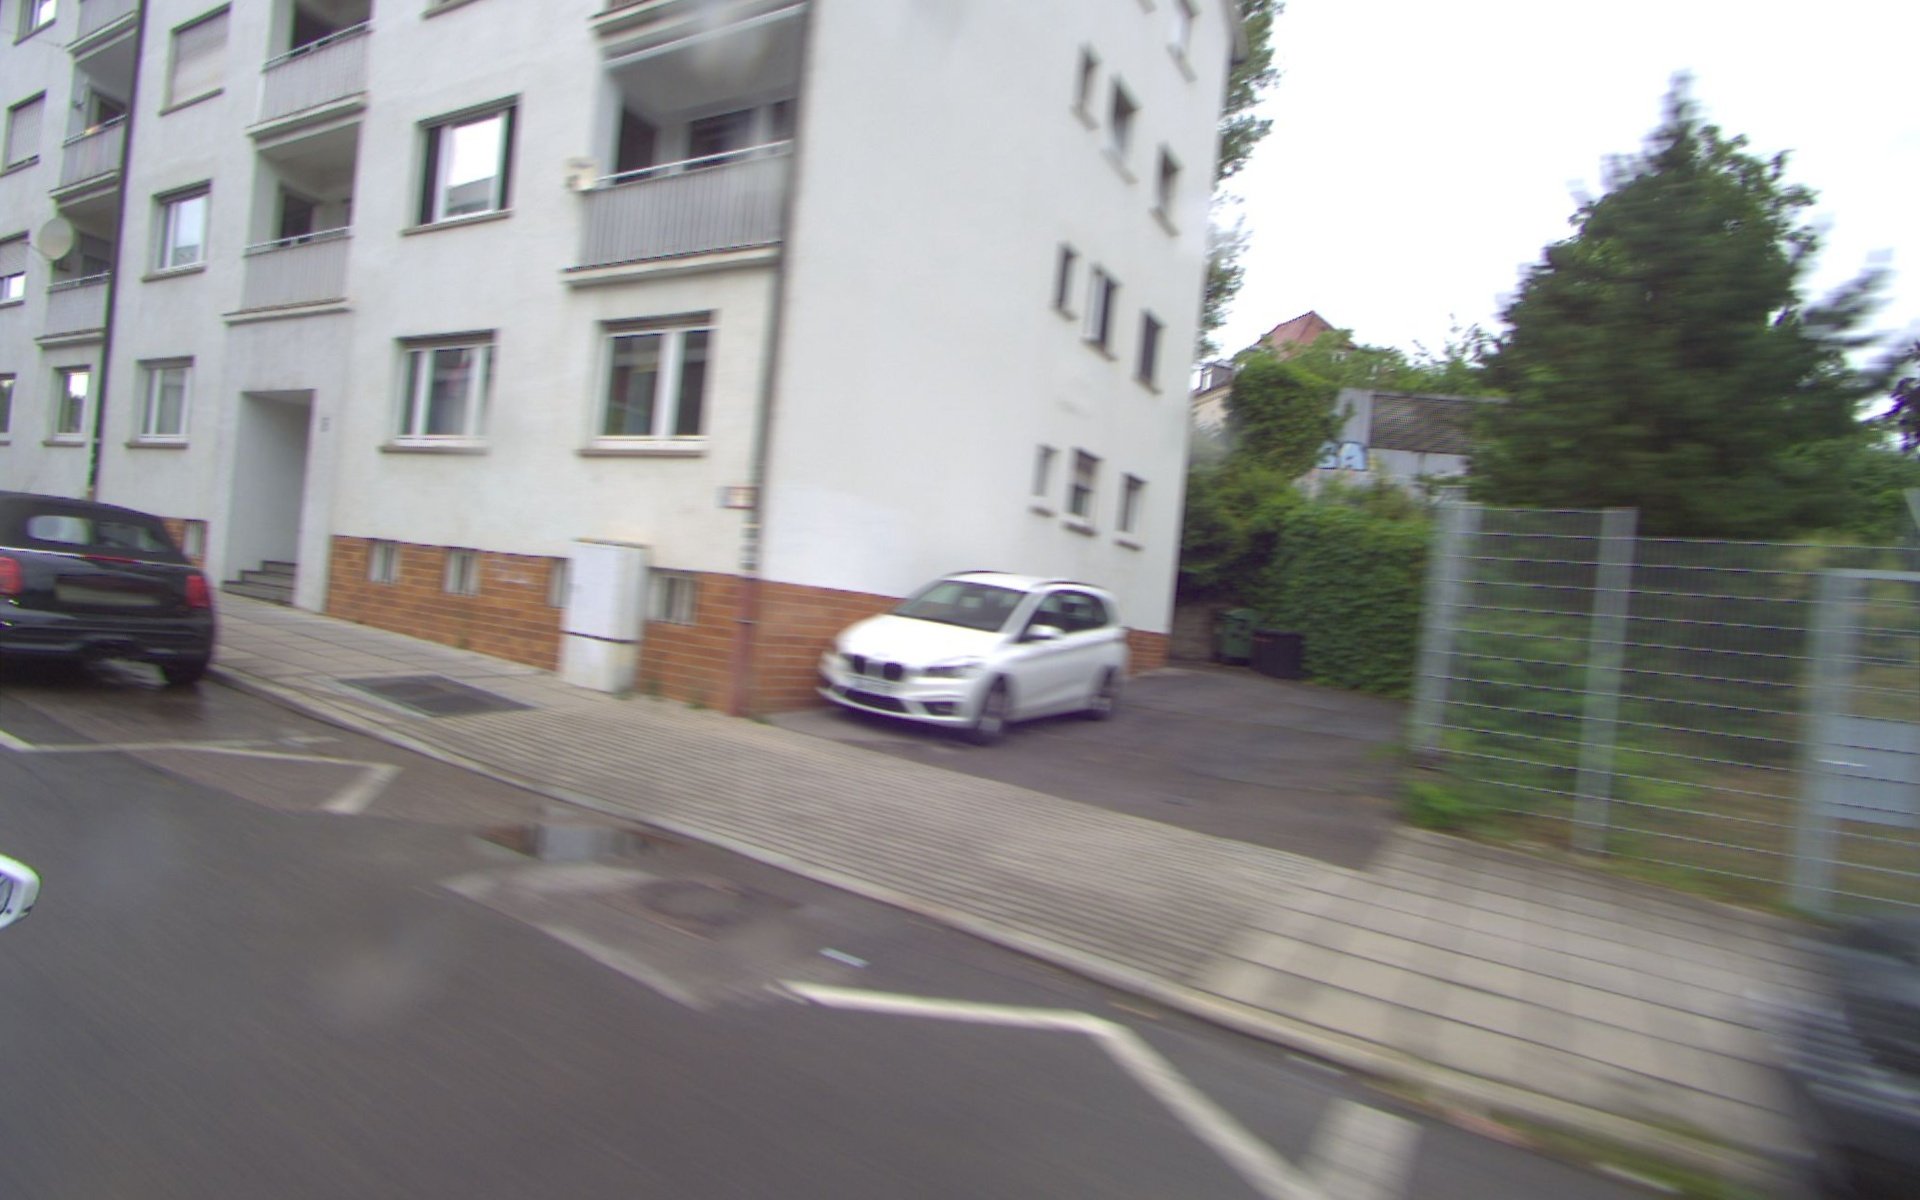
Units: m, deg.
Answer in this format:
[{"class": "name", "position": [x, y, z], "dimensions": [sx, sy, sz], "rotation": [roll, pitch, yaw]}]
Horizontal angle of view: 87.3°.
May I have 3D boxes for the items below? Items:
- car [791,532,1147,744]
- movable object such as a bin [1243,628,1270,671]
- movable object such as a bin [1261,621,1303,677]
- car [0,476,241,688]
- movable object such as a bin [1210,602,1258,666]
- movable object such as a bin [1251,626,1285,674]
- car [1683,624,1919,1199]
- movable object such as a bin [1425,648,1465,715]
[{"class": "car", "position": [0.349, 0.356, 11.163], "dimensions": [1.873, 1.736, 4.440], "rotation": [7, 2, 30]}, {"class": "movable object such as a bin", "position": [7.007, 1.166, 23.781], "dimensions": [0.383, 0.944, 0.549], "rotation": [5, 3, -1]}, {"class": "movable object such as a bin", "position": [7.104, 1.068, 22.223], "dimensions": [0.451, 1.108, 0.888], "rotation": [5, 3, -7]}, {"class": "car", "position": [-8.115, -0.286, 8.662], "dimensions": [3.700, 1.477, 1.676], "rotation": [8, 0, 30]}, {"class": "movable object such as a bin", "position": [6.856, 0.838, 25.205], "dimensions": [0.882, 1.455, 0.889], "rotation": [6, 3, 5]}, {"class": "movable object such as a bin", "position": [7.061, 1.134, 23.085], "dimensions": [0.450, 1.014, 0.650], "rotation": [5, 3, -1]}, {"class": "car", "position": [4.005, 1.231, 1.241], "dimensions": [4.716, 1.771, 1.939], "rotation": [7, -1, 31]}, {"class": "movable object such as a bin", "position": [7.706, 1.286, 16.008], "dimensions": [0.262, 0.997, 0.466], "rotation": [5, 3, -7]}]
